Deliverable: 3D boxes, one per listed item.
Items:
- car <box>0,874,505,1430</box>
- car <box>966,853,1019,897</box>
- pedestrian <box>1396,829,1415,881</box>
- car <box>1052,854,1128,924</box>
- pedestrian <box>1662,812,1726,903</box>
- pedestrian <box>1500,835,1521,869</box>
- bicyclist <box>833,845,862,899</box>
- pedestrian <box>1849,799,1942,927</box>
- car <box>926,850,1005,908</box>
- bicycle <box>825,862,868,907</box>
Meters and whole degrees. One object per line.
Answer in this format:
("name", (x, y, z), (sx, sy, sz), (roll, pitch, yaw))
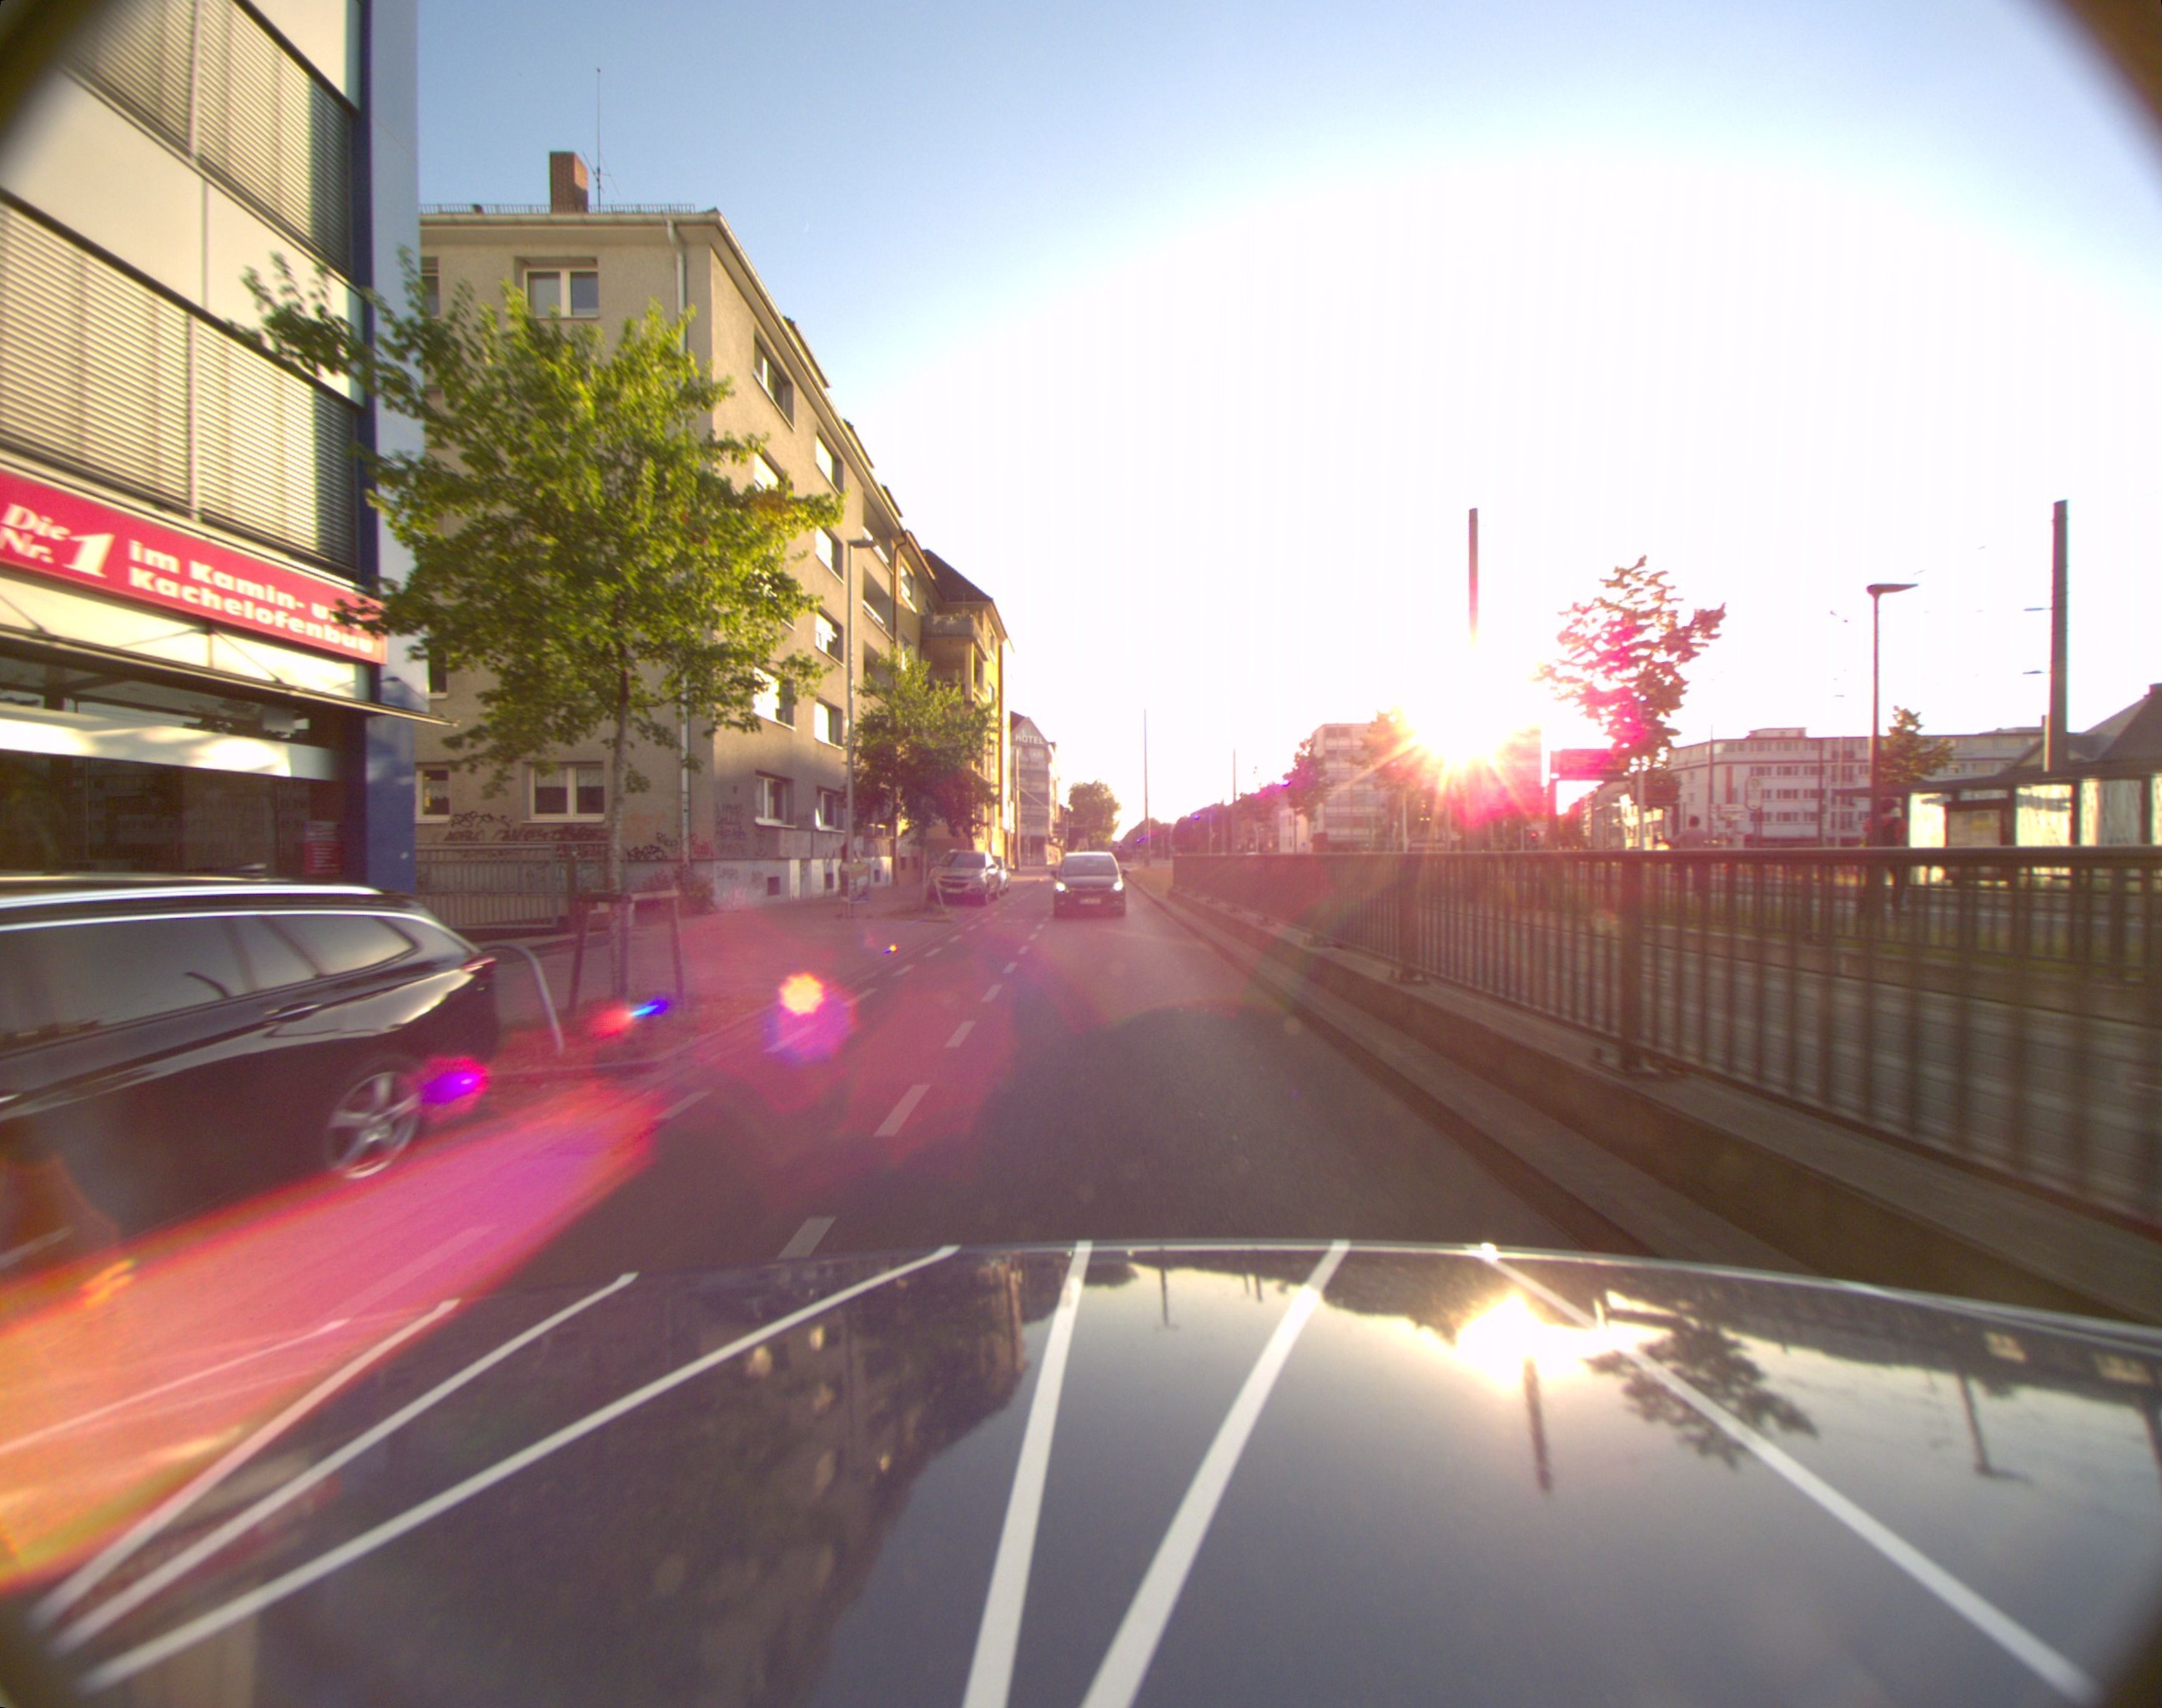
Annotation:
("car", (-4.204, 0.956, 1.930), (1.824, 1.557, 4.809), (3, 0, -1))
("car", (-3.473, 0.787, 30.246), (1.674, 1.509, 3.600), (3, 0, -1))
("pedestrian", (11.210, 0.020, 26.269), (0.472, 1.776, 0.626), (-1, 1, 8))
("car", (0.256, 0.838, 20.425), (1.800, 1.609, 4.386), (-1, 1, 1))
("pedestrian", (12.051, 0.068, 14.954), (0.727, 1.734, 0.636), (-1, 0, -7))
("pedestrian", (22.842, -0.119, 40.425), (0.696, 1.788, 0.817), (-1, 1, 3))
("bicyclist", (-6.440, 0.485, 20.941), (0.559, 1.467, 0.622), (3, 1, -1))
("pedestrian", (11.351, 0.124, 10.603), (0.636, 1.719, 0.635), (0, 1, -11))
("car", (-3.633, 0.720, 24.738), (1.761, 1.644, 4.528), (2, 0, 1))
("bicycle", (-6.456, 0.822, 20.994), (0.555, 1.123, 1.973), (3, 1, -1))
